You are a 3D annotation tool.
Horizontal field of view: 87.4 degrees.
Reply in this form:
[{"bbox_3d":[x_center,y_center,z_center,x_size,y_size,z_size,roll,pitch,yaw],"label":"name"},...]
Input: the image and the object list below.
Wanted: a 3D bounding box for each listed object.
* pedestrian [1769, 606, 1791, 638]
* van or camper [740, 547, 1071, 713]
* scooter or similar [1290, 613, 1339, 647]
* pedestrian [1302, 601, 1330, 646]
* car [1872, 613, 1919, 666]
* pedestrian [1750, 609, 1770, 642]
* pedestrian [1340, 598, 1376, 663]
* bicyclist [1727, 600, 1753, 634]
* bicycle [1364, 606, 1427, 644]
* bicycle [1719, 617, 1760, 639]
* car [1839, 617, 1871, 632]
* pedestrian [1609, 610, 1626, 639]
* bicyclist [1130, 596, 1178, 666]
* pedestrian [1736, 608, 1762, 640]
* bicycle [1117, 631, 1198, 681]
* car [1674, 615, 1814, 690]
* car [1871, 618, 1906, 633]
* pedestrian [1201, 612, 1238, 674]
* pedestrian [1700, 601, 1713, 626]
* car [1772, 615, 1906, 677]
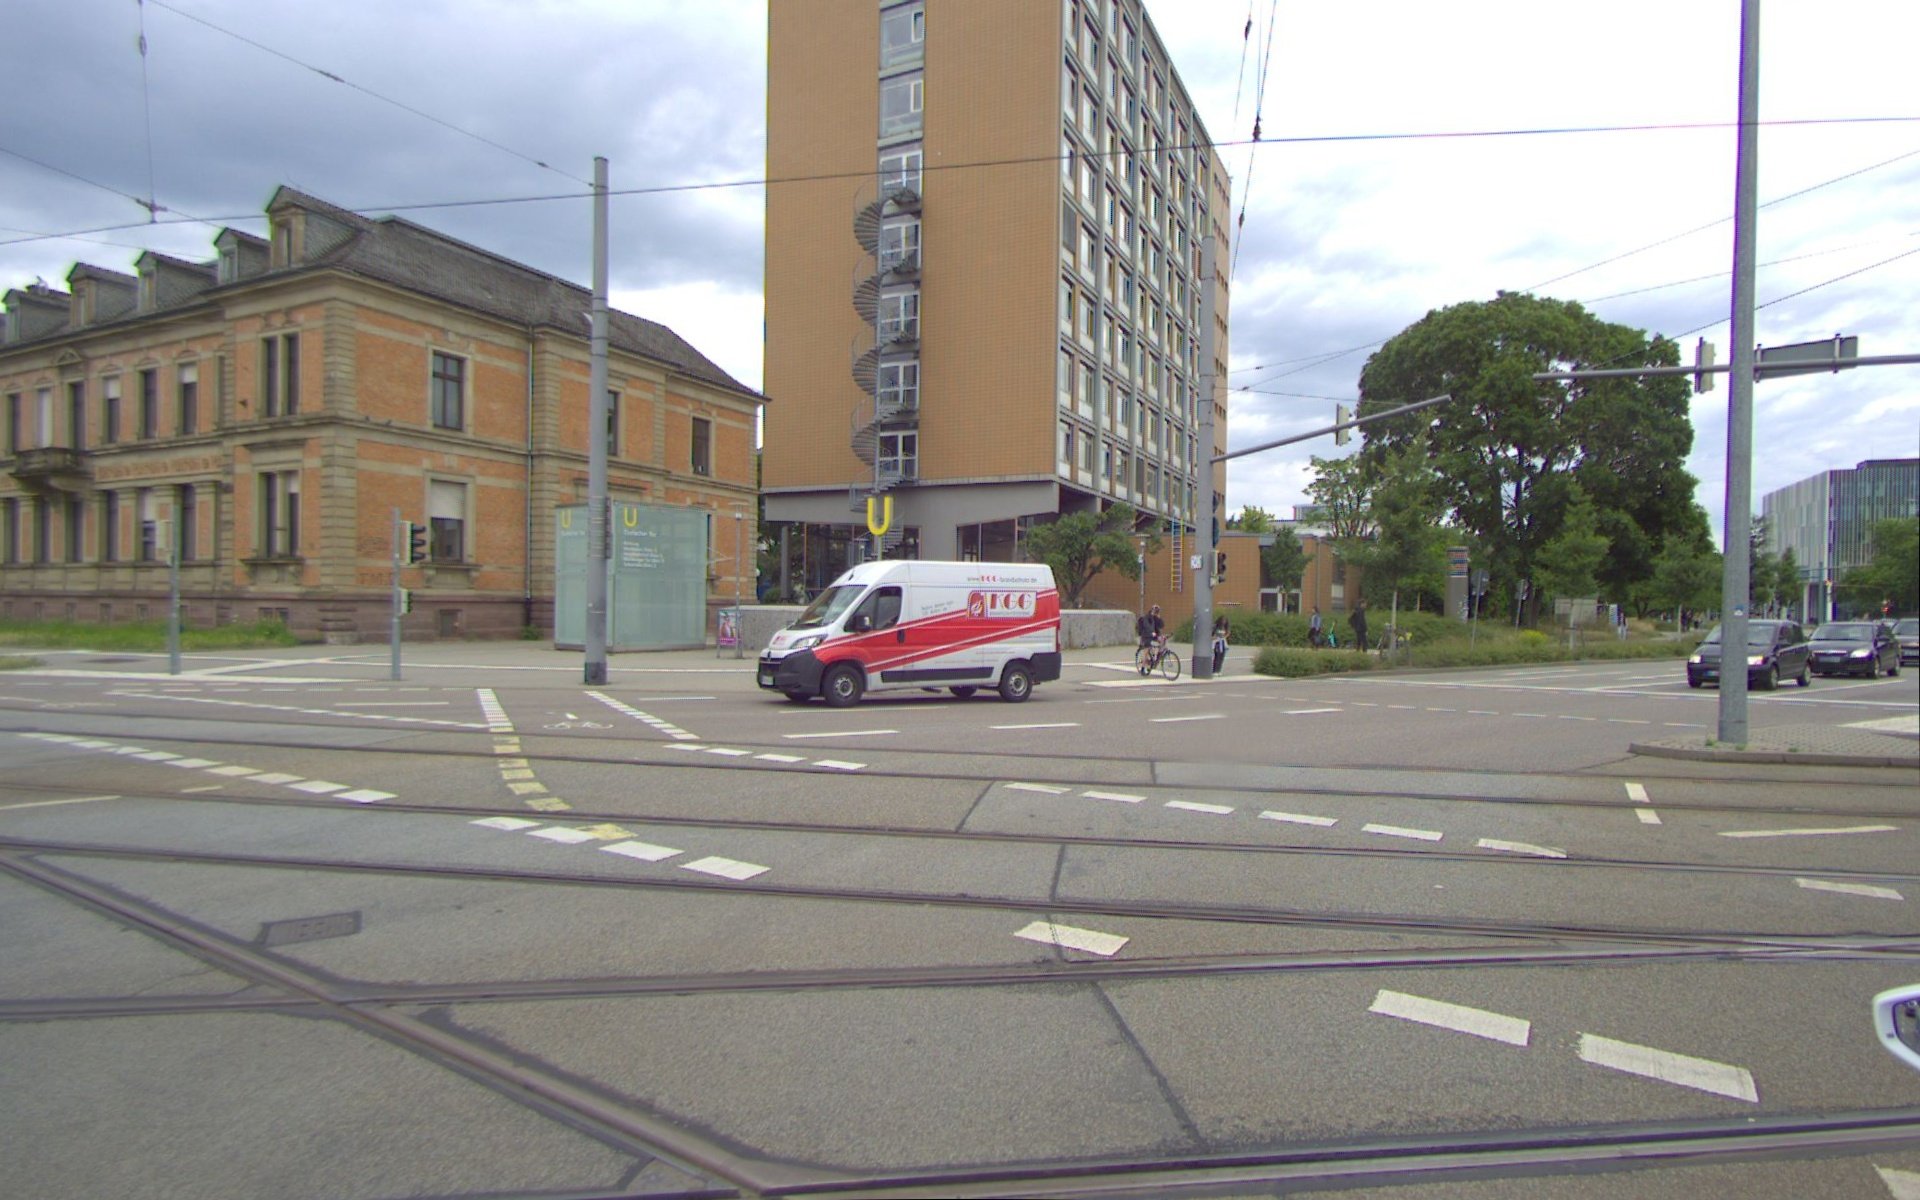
[{"bbox_3d":[48.433,1.301,59.342,0.662,1.867,0.885,1,0,-40],"label":"pedestrian"},{"bbox_3d":[-0.884,0.503,17.916,5.511,2.561,2.267,1,0,-32],"label":"van or camper"},{"bbox_3d":[14.315,1.211,40.635,1.750,1.320,0.627,1,1,41],"label":"scooter or similar"},{"bbox_3d":[13.848,0.904,39.101,0.678,1.757,0.742,0,0,-32],"label":"pedestrian"},{"bbox_3d":[33.044,1.332,34.513,4.672,1.748,1.856,1,-1,-39],"label":"car"},{"bbox_3d":[45.679,1.469,57.362,0.760,1.867,0.750,1,-1,-41],"label":"pedestrian"},{"bbox_3d":[12.546,0.961,31.692,0.651,2.007,0.814,0,0,-32],"label":"pedestrian"},{"bbox_3d":[43.865,0.942,56.470,0.819,1.869,0.791,1,0,-12],"label":"bicyclist"},{"bbox_3d":[17.339,1.001,40.010,2.215,1.468,0.847,1,0,-13],"label":"bicycle"},{"bbox_3d":[43.820,1.583,56.465,1.873,1.174,0.790,1,0,-11],"label":"bicycle"},{"bbox_3d":[108.355,2.964,121.696,1.964,1.704,4.005,1,0,28],"label":"car"},{"bbox_3d":[35.414,1.320,54.116,0.749,1.562,0.556,1,1,-42],"label":"pedestrian"},{"bbox_3d":[4.847,0.771,25.113,0.784,1.679,0.809,1,2,-28],"label":"bicyclist"},{"bbox_3d":[46.281,1.393,58.941,0.859,1.867,1.039,1,0,-40],"label":"pedestrian"},{"bbox_3d":[4.887,1.382,25.024,0.785,1.042,2.104,2,2,-28],"label":"bicycle"},{"bbox_3d":[17.691,1.124,22.623,3.631,1.535,1.606,1,-1,-37],"label":"car"},{"bbox_3d":[103.741,2.854,112.266,1.964,1.662,3.994,1,0,28],"label":"car"},{"bbox_3d":[6.750,1.111,26.149,0.741,1.572,0.575,0,0,-33],"label":"pedestrian"},{"bbox_3d":[61.229,1.086,82.376,0.746,2.040,1.042,1,0,40],"label":"pedestrian"},{"bbox_3d":[23.736,1.204,27.066,4.437,1.528,1.857,1,-2,-37],"label":"car"}]
